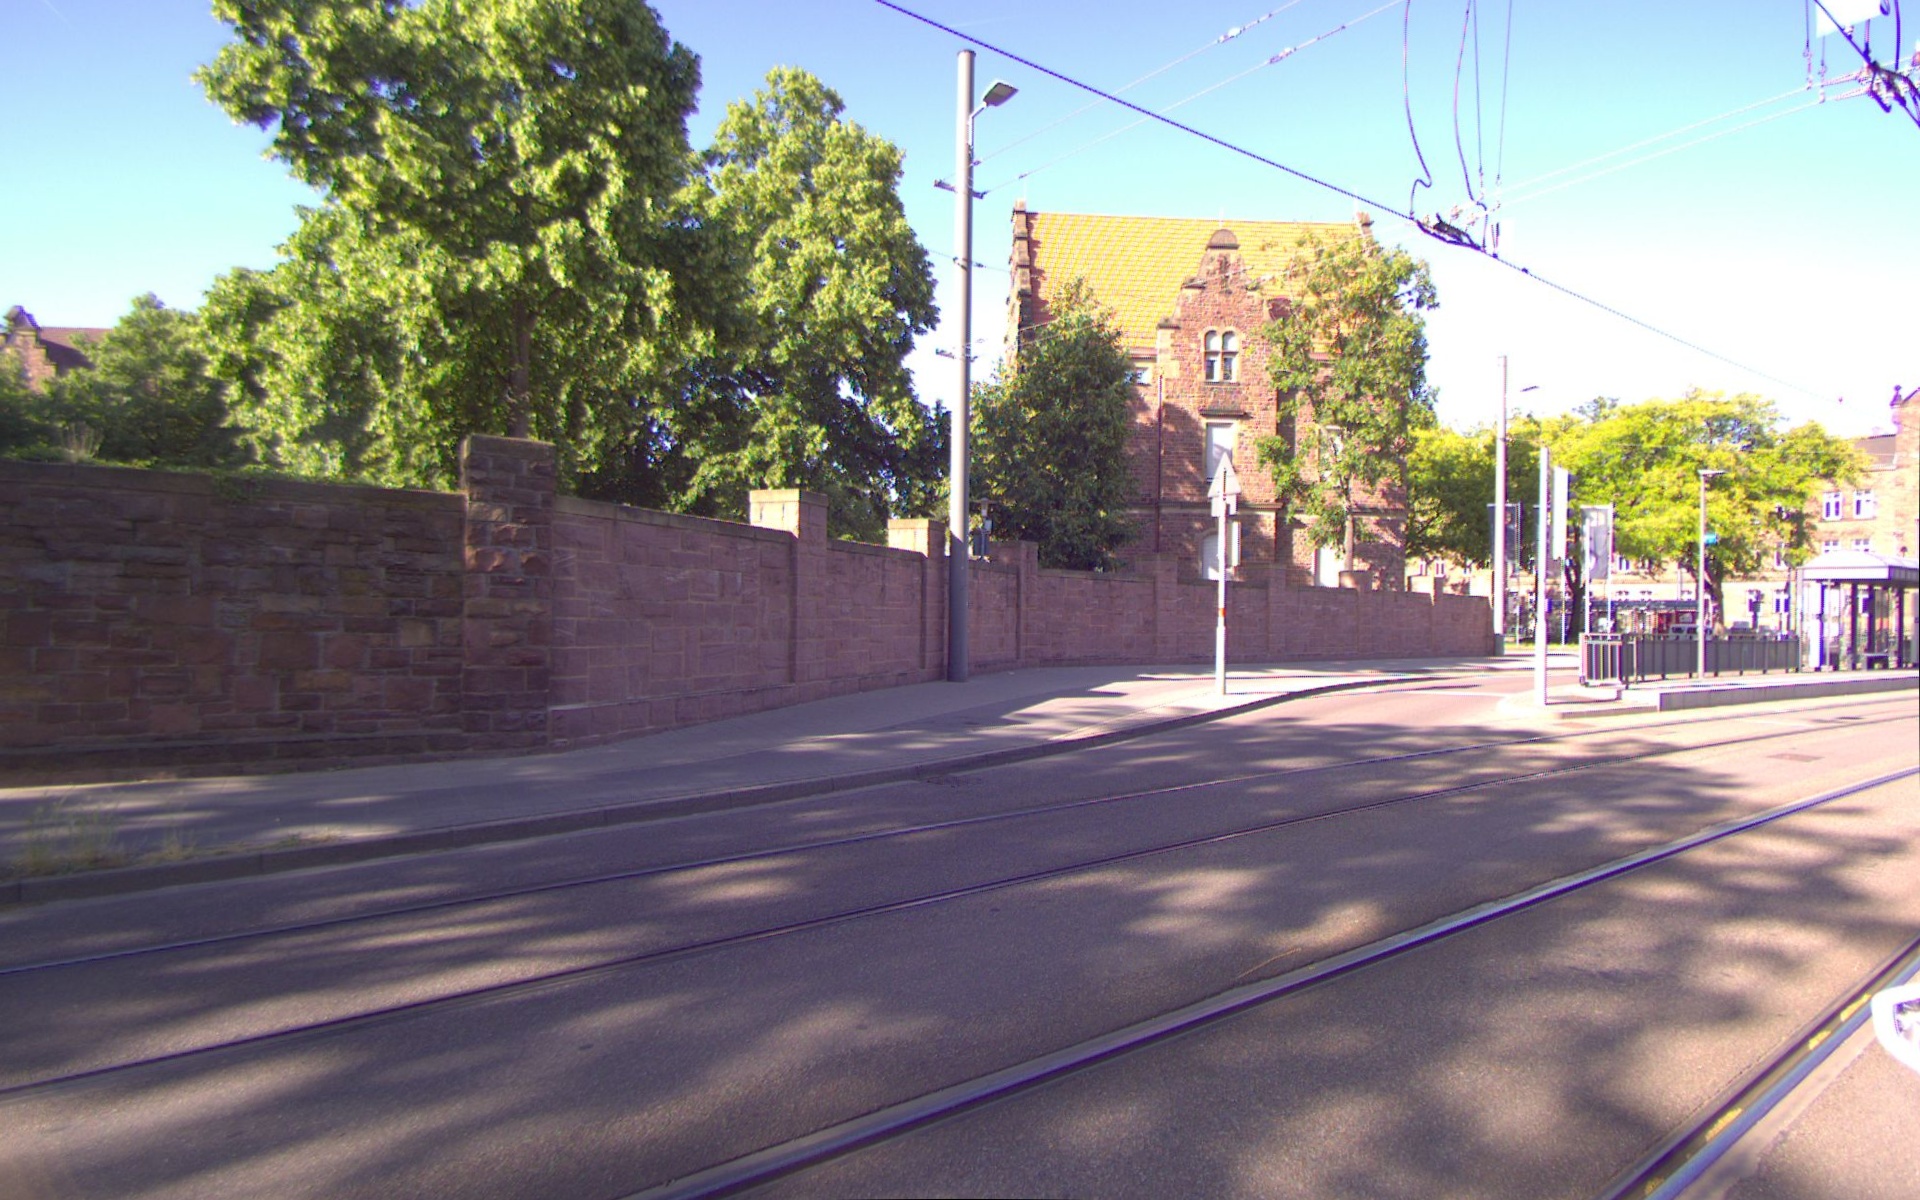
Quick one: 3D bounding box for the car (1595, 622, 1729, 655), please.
[{"bbox_3d":[47.933,2.589,68.804,2.957,1.946,6.915,1,-1,-30],"label":"car"}]
